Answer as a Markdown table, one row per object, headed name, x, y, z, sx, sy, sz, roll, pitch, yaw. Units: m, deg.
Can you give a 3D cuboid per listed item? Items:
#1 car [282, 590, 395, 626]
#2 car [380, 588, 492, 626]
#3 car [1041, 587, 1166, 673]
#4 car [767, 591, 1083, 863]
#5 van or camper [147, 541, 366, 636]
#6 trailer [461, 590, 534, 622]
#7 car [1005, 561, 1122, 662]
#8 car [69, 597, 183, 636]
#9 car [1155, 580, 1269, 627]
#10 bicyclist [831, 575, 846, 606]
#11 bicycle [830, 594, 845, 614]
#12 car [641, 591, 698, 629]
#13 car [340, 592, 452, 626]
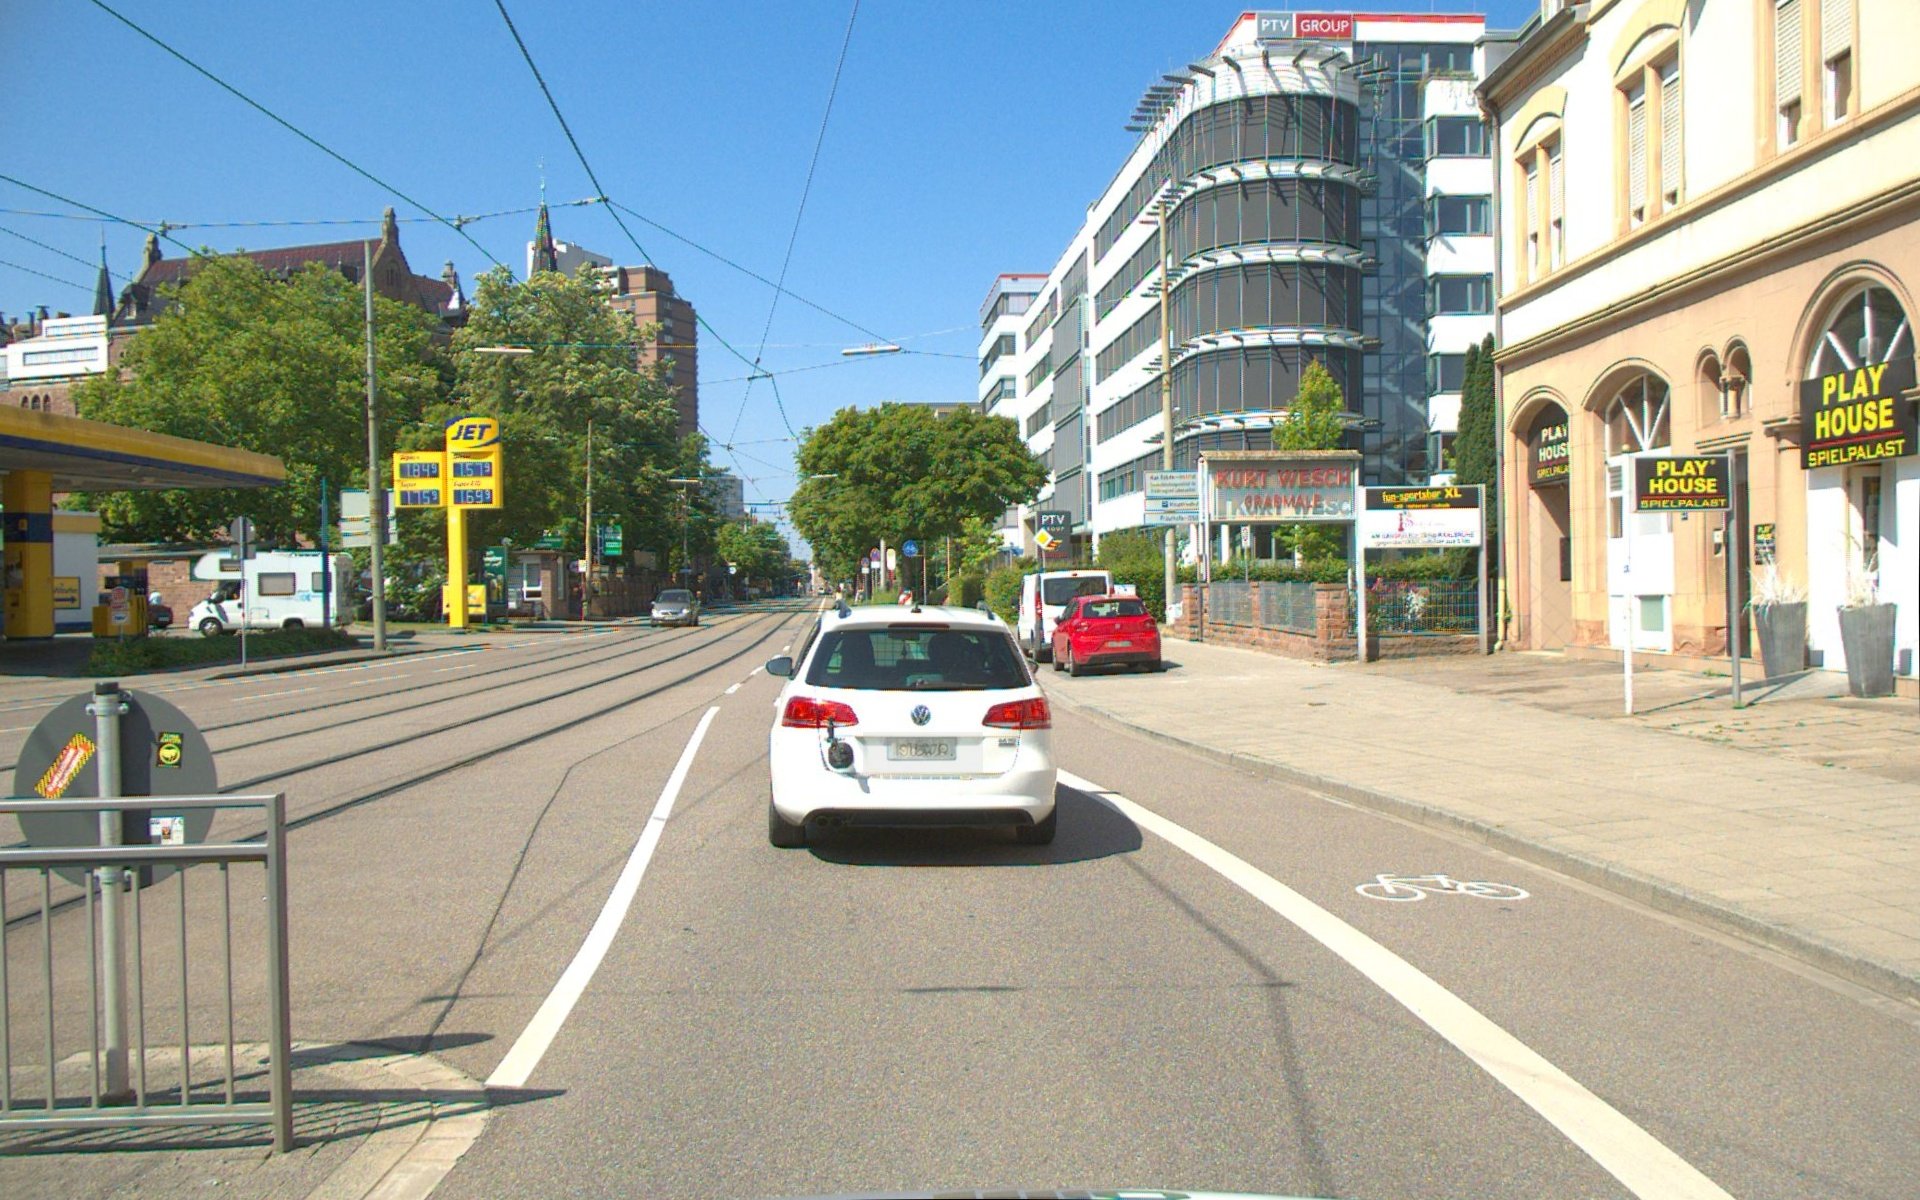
| name | x | y | z | sx | sy | sz | roll | pitch | yaw |
| --- | --- | --- | --- | --- | --- | --- | --- | --- | --- |
| car | -28.676 | 0.351 | 76.372 | 1.913 | 1.611 | 4.555 | -1 | 0 | 40 |
| car | -23.535 | 0.295 | 74.422 | 1.913 | 1.653 | 4.556 | -1 | 0 | 39 |
| car | 2.683 | 0.535 | 31.878 | 1.688 | 1.468 | 4.309 | -3 | 0 | -4 |
| car | -0.336 | 0.678 | 11.200 | 1.719 | 1.467 | 4.409 | 0 | 0 | -4 |
| van or camper | -24.777 | -0.389 | 58.525 | 6.565 | 3.019 | 2.612 | 2 | 0 | -8 |
| trailer | -23.080 | 0.286 | 82.596 | 3.151 | 1.552 | 1.776 | -1 | 0 | -4 |
| car | 2.294 | 0.238 | 38.174 | 1.938 | 2.090 | 5.187 | -3 | 0 | -4 |
| car | -33.896 | 0.673 | 67.231 | 4.072 | 1.554 | 1.937 | 0 | 0 | 21 |
| car | 8.513 | 0.116 | 56.017 | 3.522 | 1.498 | 1.591 | -1 | 0 | -4 |
| bicyclist | -6.688 | -0.513 | 90.837 | 0.770 | 1.658 | 0.737 | 2 | -1 | -4 |
| bicycle | -6.675 | 0.216 | 90.488 | 0.795 | 1.097 | 2.010 | -1 | 0 | -4 |
| car | -12.696 | 0.434 | 72.505 | 1.710 | 1.598 | 3.892 | -2 | 0 | 1 |
| car | -25.737 | 0.399 | 75.623 | 1.913 | 1.493 | 4.556 | -1 | 0 | 39 |
